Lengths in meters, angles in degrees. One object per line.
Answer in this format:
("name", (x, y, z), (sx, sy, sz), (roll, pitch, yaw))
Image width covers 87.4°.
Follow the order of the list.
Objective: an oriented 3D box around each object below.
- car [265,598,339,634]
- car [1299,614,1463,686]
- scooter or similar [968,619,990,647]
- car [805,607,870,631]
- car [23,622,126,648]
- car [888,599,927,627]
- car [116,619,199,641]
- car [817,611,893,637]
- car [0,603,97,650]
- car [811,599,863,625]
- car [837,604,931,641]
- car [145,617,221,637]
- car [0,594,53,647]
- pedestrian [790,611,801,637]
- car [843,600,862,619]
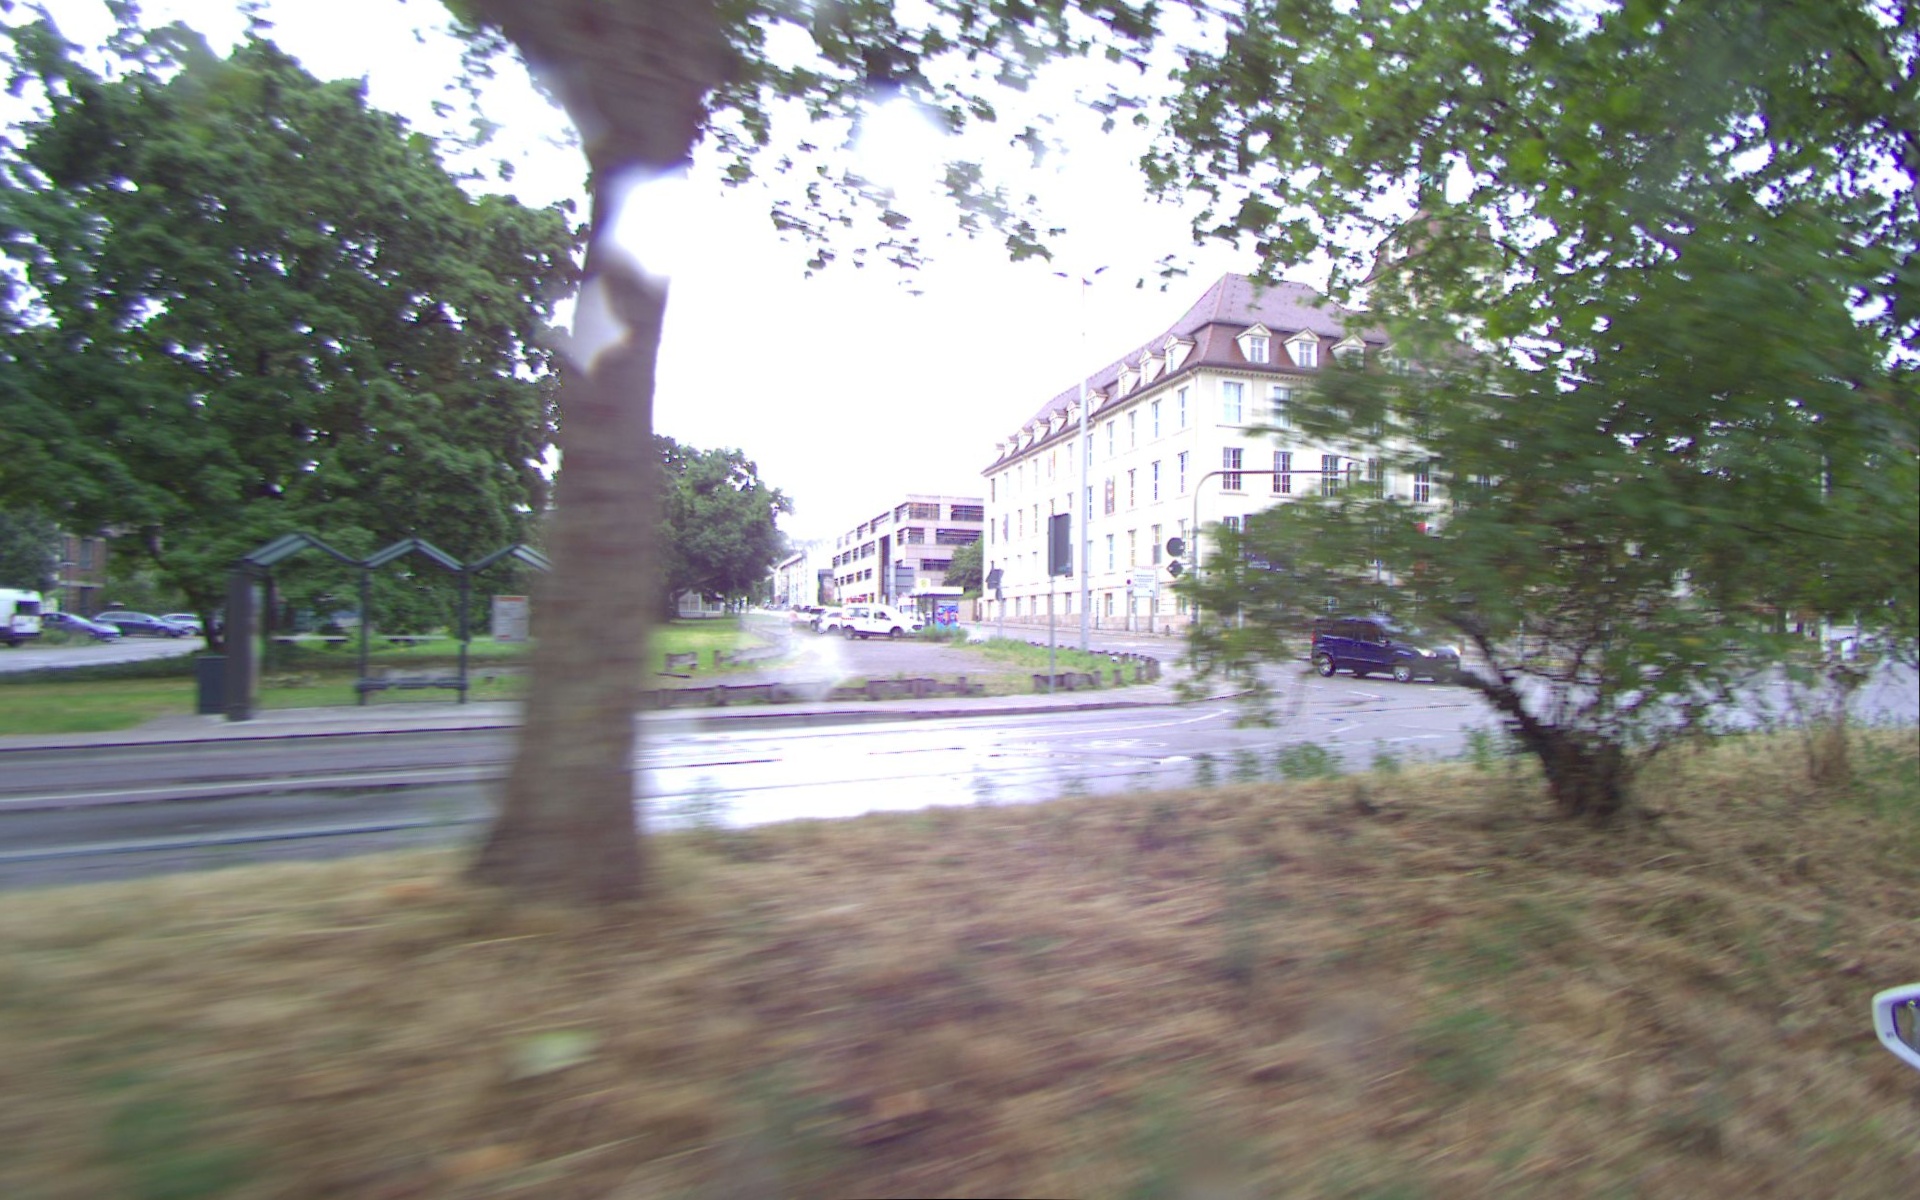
("car", (-57.137, 1.367, 87.425), (3.540, 2.854, 6.444), (2, -1, -16))
("car", (12.130, 1.381, 29.231), (1.774, 1.933, 4.280), (0, -1, -27))
("scooter or similar", (0.850, 1.477, 44.820), (0.541, 1.182, 1.253), (2, -1, 21))
("car", (-8.207, 1.276, 67.238), (4.005, 1.461, 1.849), (1, -1, 33))
("car", (-44.914, 1.752, 51.015), (3.499, 1.158, 1.684), (3, -1, -17))
("car", (-4.808, 1.131, 91.085), (1.968, 2.344, 5.904), (2, -1, -18))
("car", (-48.138, 1.819, 60.303), (3.499, 1.158, 1.587), (3, -1, -17))
("car", (-6.091, 1.414, 58.280), (3.994, 1.461, 1.855), (0, -2, 17))
("car", (-44.790, 1.224, 47.841), (4.997, 2.049, 2.280), (3, -1, -17))
("car", (-8.785, 0.898, 71.506), (1.838, 1.765, 4.031), (1, -2, -38))
("car", (-3.852, 1.146, 50.842), (4.421, 1.791, 1.833), (0, -2, 25))
("car", (-50.047, 1.729, 64.766), (3.499, 1.158, 1.587), (2, -1, -17))
("car", (-43.751, 0.801, 44.090), (5.375, 2.242, 2.110), (3, -1, -14))
("pedestrian", (-9.755, 1.421, 59.531), (0.557, 1.548, 0.669), (2, 0, -6))
("car", (-16.071, 1.376, 149.912), (1.968, 2.652, 3.985), (2, -1, -18))
